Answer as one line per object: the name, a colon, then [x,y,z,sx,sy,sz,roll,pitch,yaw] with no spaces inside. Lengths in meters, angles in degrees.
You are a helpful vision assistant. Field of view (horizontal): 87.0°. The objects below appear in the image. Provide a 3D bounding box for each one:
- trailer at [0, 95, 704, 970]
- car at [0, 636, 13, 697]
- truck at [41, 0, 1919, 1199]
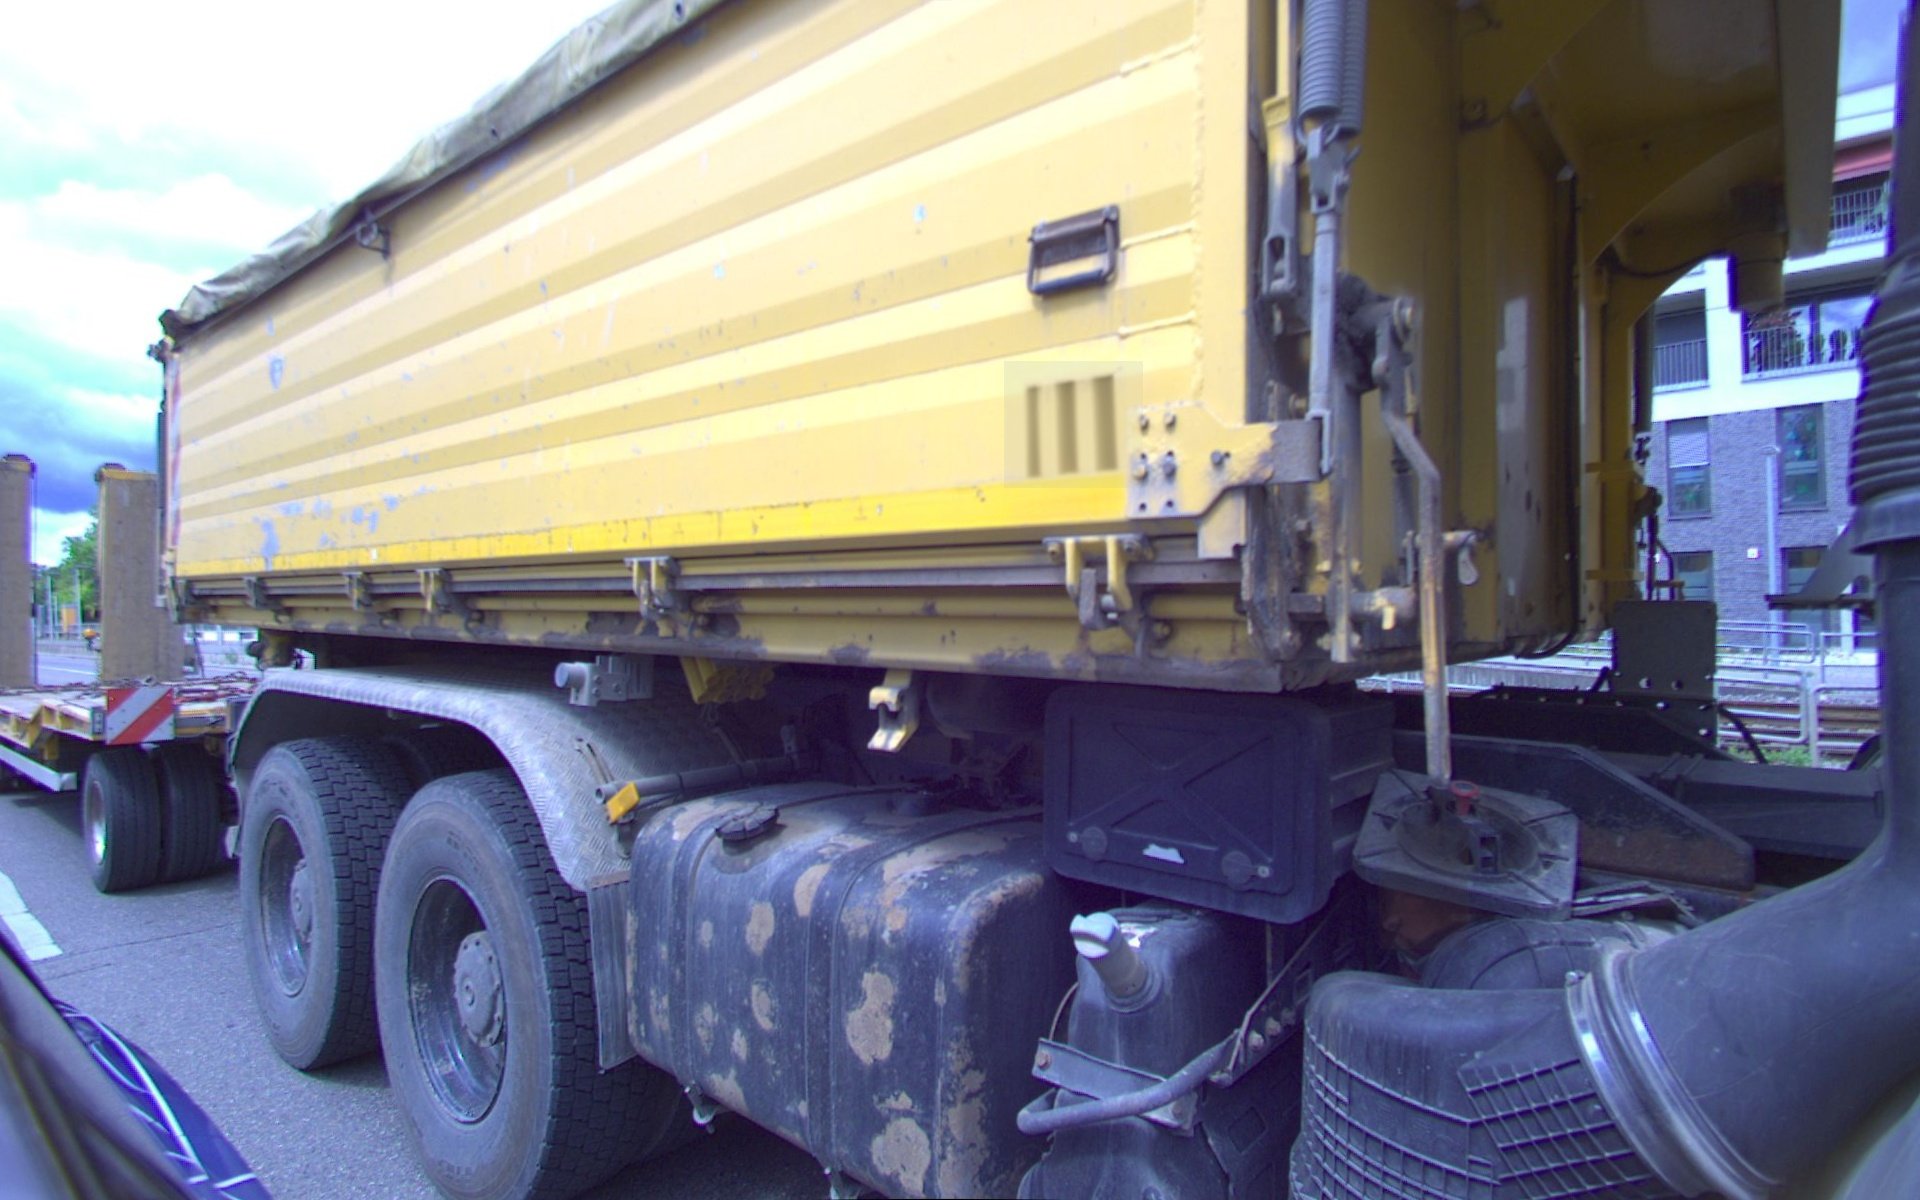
trailer: [-6.845,-0.164,9.017,10.957,3.726,3.018,-2,-1,40]
car: [-24.428,1.605,24.551,3.784,1.427,1.761,-2,-1,41]
truck: [0.132,-0.251,2.869,7.999,3.420,3.019,-2,-1,40]
